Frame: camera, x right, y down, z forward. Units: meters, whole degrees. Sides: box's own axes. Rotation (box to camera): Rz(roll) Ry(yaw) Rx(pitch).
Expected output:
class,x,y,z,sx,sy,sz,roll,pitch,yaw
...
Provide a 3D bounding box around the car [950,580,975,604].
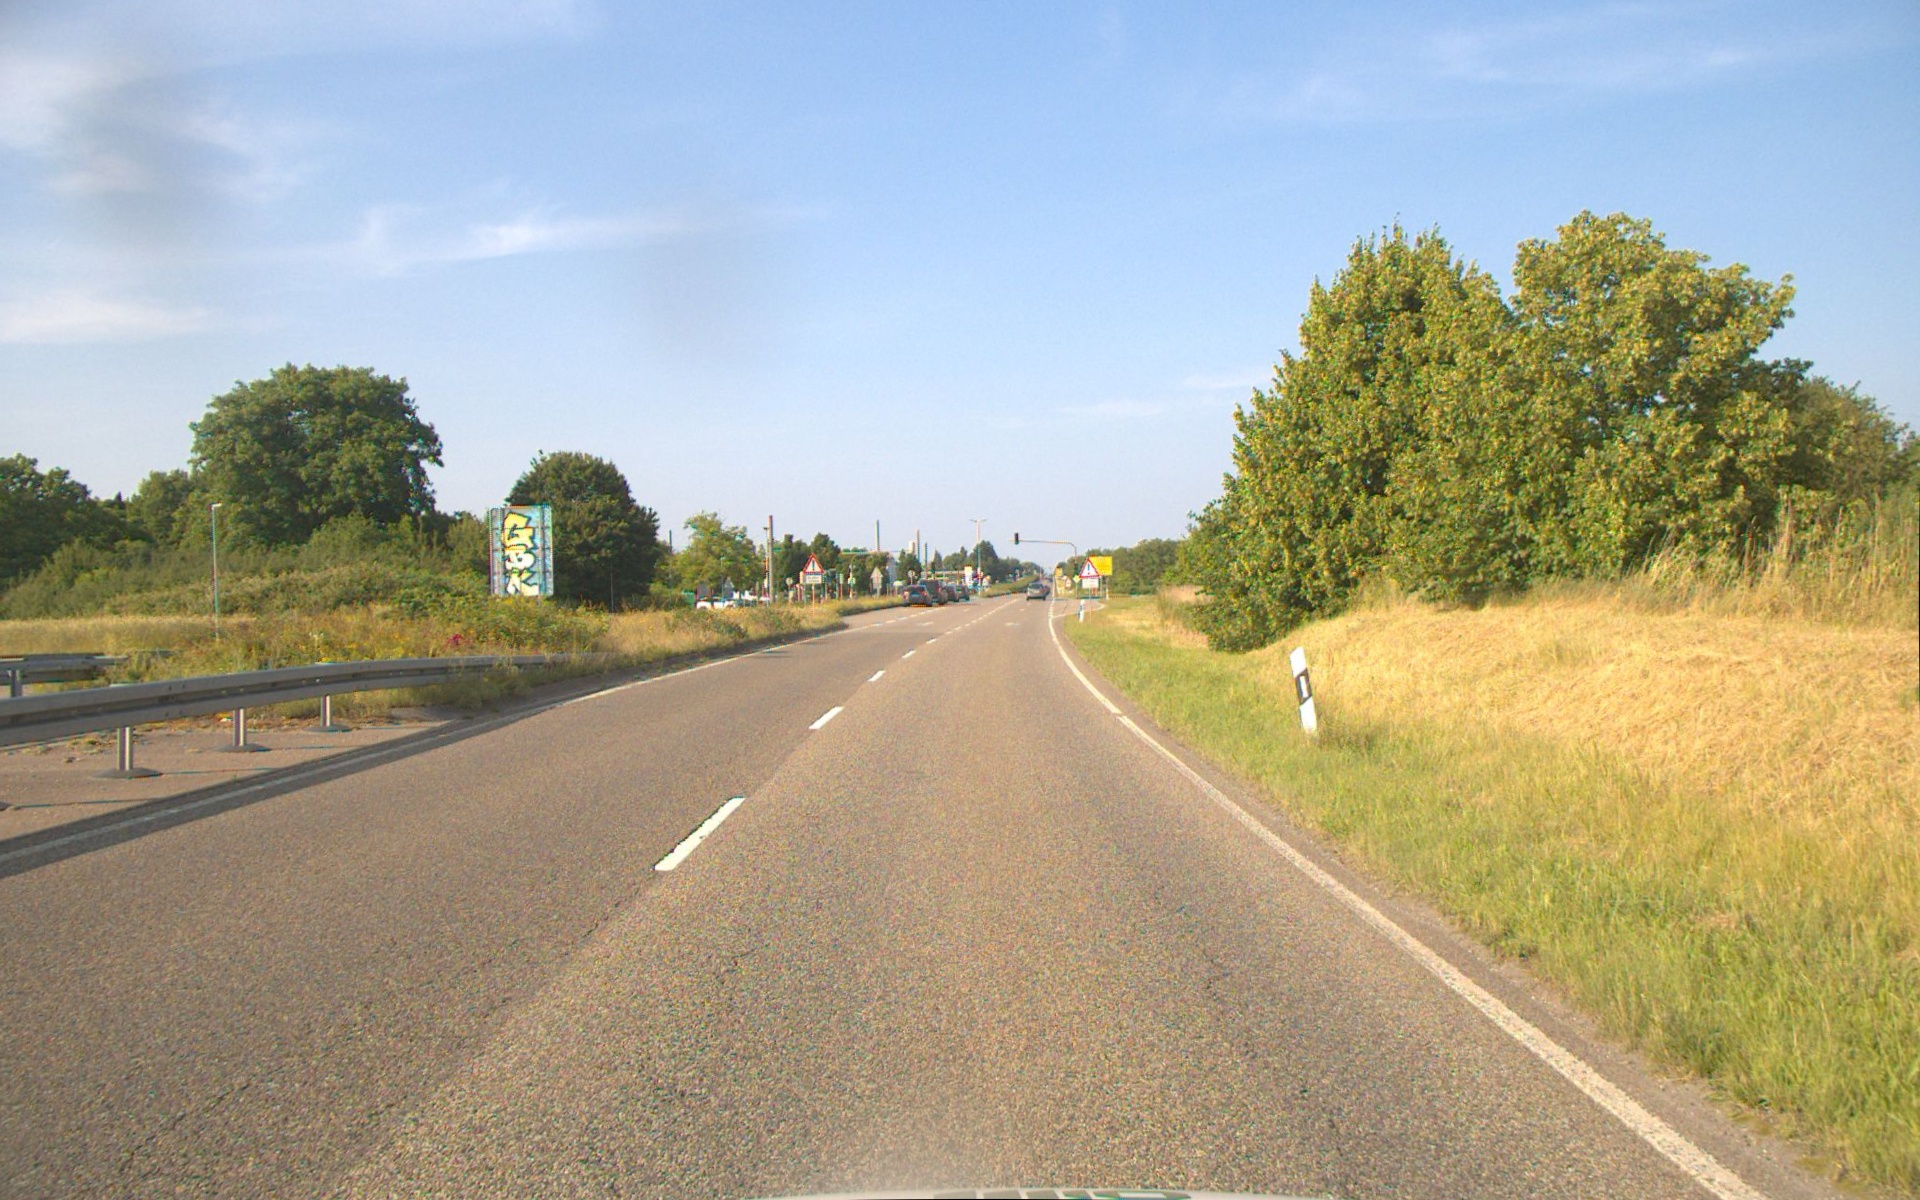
class,x,y,z,sx,sy,sz,roll,pitch,yaw
car,0.266,-0.724,156.214,1.951,2.049,4.839,-1,-1,5

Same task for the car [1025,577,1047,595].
class,x,y,z,sx,sy,sz,roll,pitch,yaw
car,7.043,-1.315,152.763,1.952,1.579,4.002,-1,1,4

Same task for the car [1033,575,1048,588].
class,x,y,z,sx,sy,sz,roll,pitch,yaw
car,11.153,-2.574,228.947,1.952,1.623,4.002,-2,1,3

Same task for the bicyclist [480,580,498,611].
class,x,y,z,sx,sy,sz,roll,pitch,yaw
bicyclist,-21.580,-0.218,75.754,0.457,1.414,1.048,-1,1,3

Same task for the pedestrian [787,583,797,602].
class,x,y,z,sx,sy,sz,roll,pitch,yaw
pedestrian,-16.180,-0.713,159.157,0.897,1.736,1.067,0,-1,-2

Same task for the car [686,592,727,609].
class,x,y,z,sx,sy,sz,roll,pitch,yaw
car,-25.145,0.054,163.969,3.915,1.691,1.882,1,-1,-11

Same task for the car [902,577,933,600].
class,x,y,z,sx,sy,sz,roll,pitch,yaw
car,-2.919,-0.784,113.601,1.696,1.481,4.522,-1,1,4

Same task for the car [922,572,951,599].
class,x,y,z,sx,sy,sz,roll,pitch,yaw
car,-1.697,-1.065,120.339,1.696,1.888,4.522,-1,1,4

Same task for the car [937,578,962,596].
class,x,y,z,sx,sy,sz,roll,pitch,yaw
car,-0.846,-1.098,138.569,1.733,1.497,4.017,-1,1,4
